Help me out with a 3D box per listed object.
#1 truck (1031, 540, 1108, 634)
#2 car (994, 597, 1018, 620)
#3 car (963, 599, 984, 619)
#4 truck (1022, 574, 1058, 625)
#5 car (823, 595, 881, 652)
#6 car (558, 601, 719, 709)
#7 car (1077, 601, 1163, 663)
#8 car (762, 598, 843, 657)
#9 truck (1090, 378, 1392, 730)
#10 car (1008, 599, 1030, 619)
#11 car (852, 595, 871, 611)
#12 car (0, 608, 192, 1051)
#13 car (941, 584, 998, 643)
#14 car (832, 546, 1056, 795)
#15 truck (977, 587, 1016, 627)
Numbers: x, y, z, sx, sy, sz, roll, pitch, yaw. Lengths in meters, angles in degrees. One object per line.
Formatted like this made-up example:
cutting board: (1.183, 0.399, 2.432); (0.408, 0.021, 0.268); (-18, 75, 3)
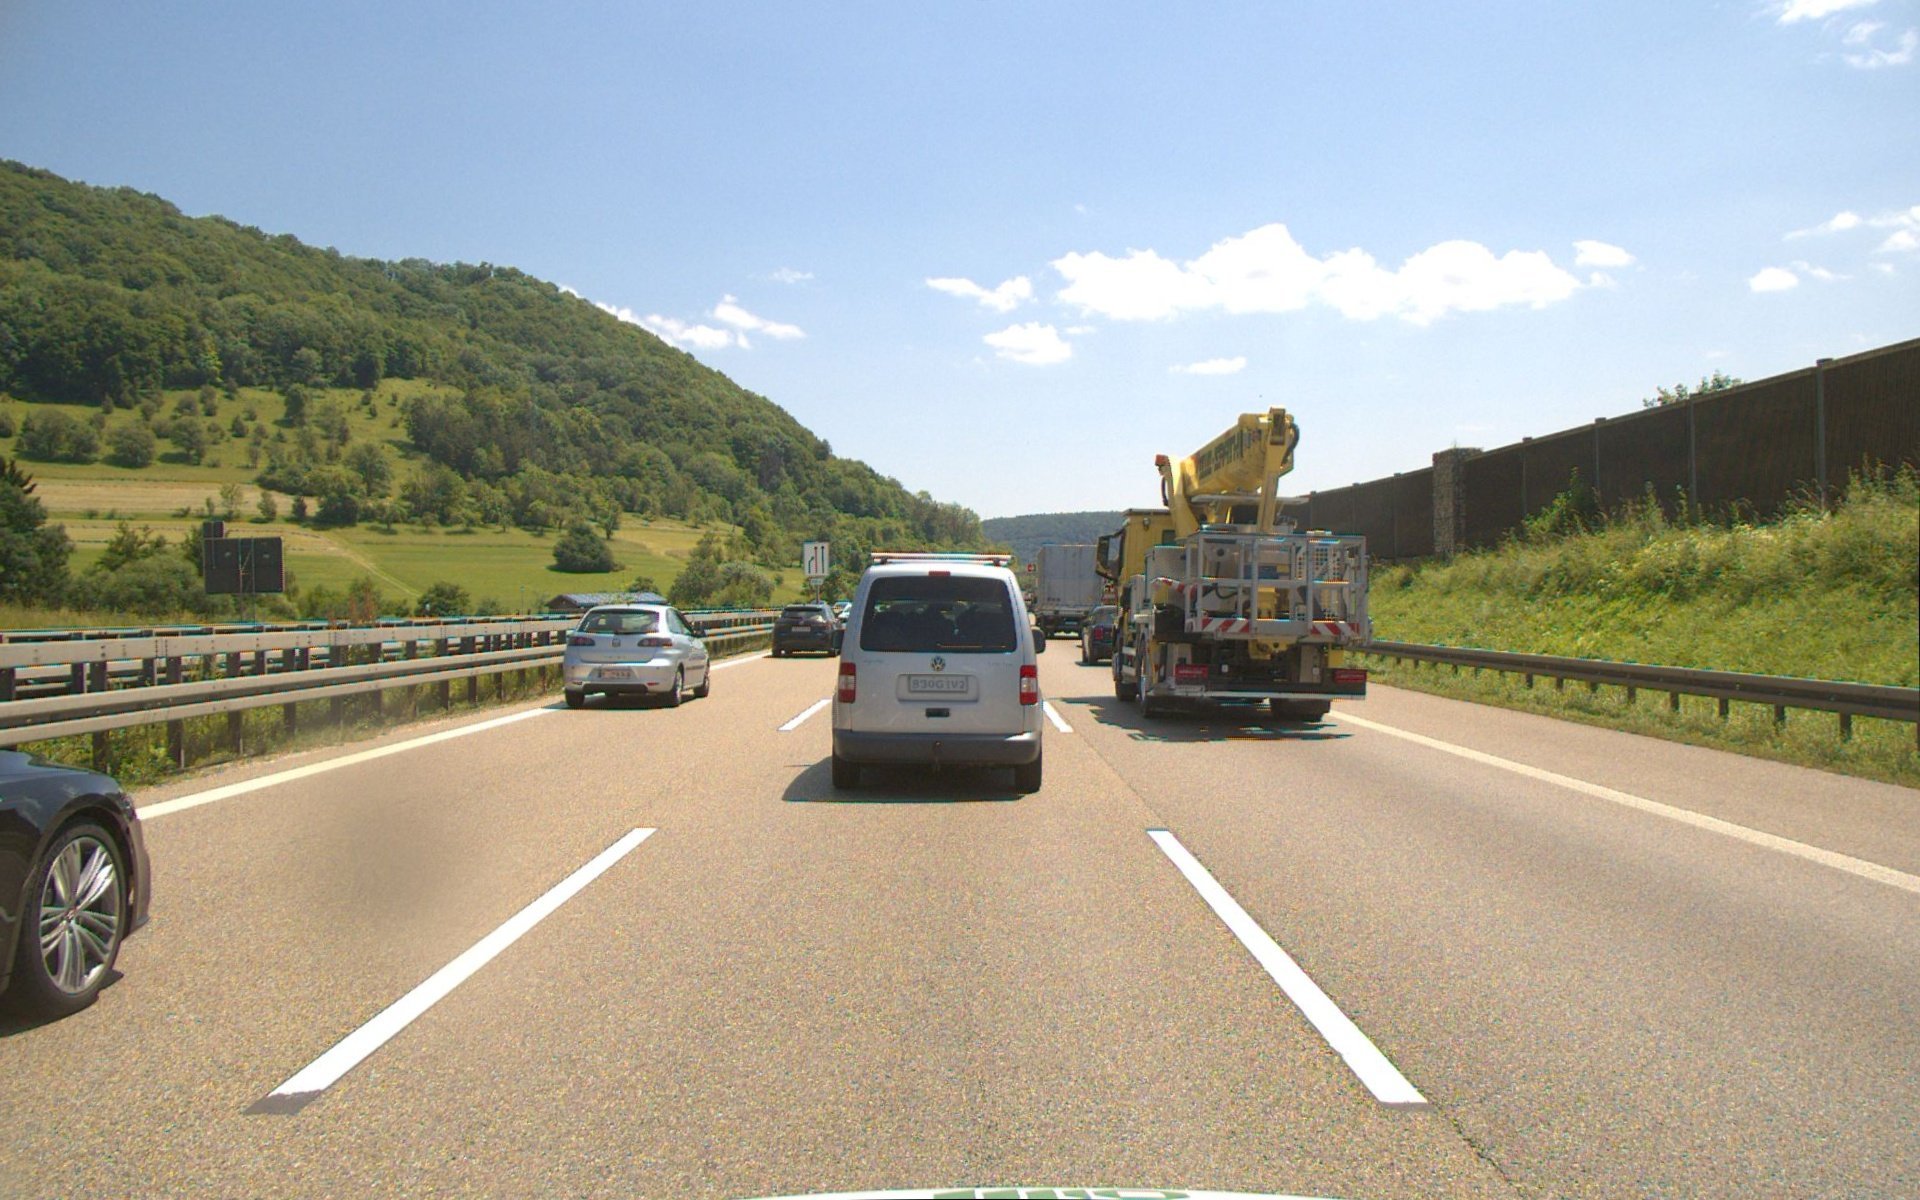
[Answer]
truck: (4.761, -0.489, 73.229); (2.880, 3.890, 8.236); (1, -1, 0)
car: (3.841, 0.731, 138.461); (1.953, 1.837, 4.000); (1, -1, 0)
car: (1.296, 0.903, 159.435); (1.953, 1.837, 4.000); (1, -1, 0)
truck: (5.416, 0.010, 112.290); (1.953, 3.308, 6.798); (1, -1, -1)
car: (-3.990, 0.847, 61.813); (1.953, 2.049, 3.999); (-1, 0, -1)
car: (-4.692, 0.757, 24.610); (1.661, 1.470, 3.861); (0, 0, -1)
car: (3.996, 0.767, 41.753); (1.750, 1.484, 3.770); (0, 0, -1)
car: (-4.300, 0.718, 45.624); (1.886, 1.525, 3.999); (1, 0, -1)
truck: (3.542, -0.519, 23.189); (2.649, 4.011, 8.720); (0, 0, -1)
car: (5.628, 0.906, 158.911); (1.953, 1.837, 4.000); (1, -1, 0)
car: (-12.131, 0.410, 203.821); (2.018, 1.975, 4.660); (0, 0, 0)
car: (-3.954, 0.738, 4.134); (1.764, 1.415, 4.969); (0, 0, 0)
car: (0.293, 0.469, 58.580); (1.953, 2.010, 3.999); (0, 0, -1)
car: (-0.151, 0.542, 14.686); (1.720, 1.900, 3.999); (0, 0, -1)
truck: (2.368, 0.460, 108.548); (2.341, 2.585, 5.938); (0, 0, -1)
